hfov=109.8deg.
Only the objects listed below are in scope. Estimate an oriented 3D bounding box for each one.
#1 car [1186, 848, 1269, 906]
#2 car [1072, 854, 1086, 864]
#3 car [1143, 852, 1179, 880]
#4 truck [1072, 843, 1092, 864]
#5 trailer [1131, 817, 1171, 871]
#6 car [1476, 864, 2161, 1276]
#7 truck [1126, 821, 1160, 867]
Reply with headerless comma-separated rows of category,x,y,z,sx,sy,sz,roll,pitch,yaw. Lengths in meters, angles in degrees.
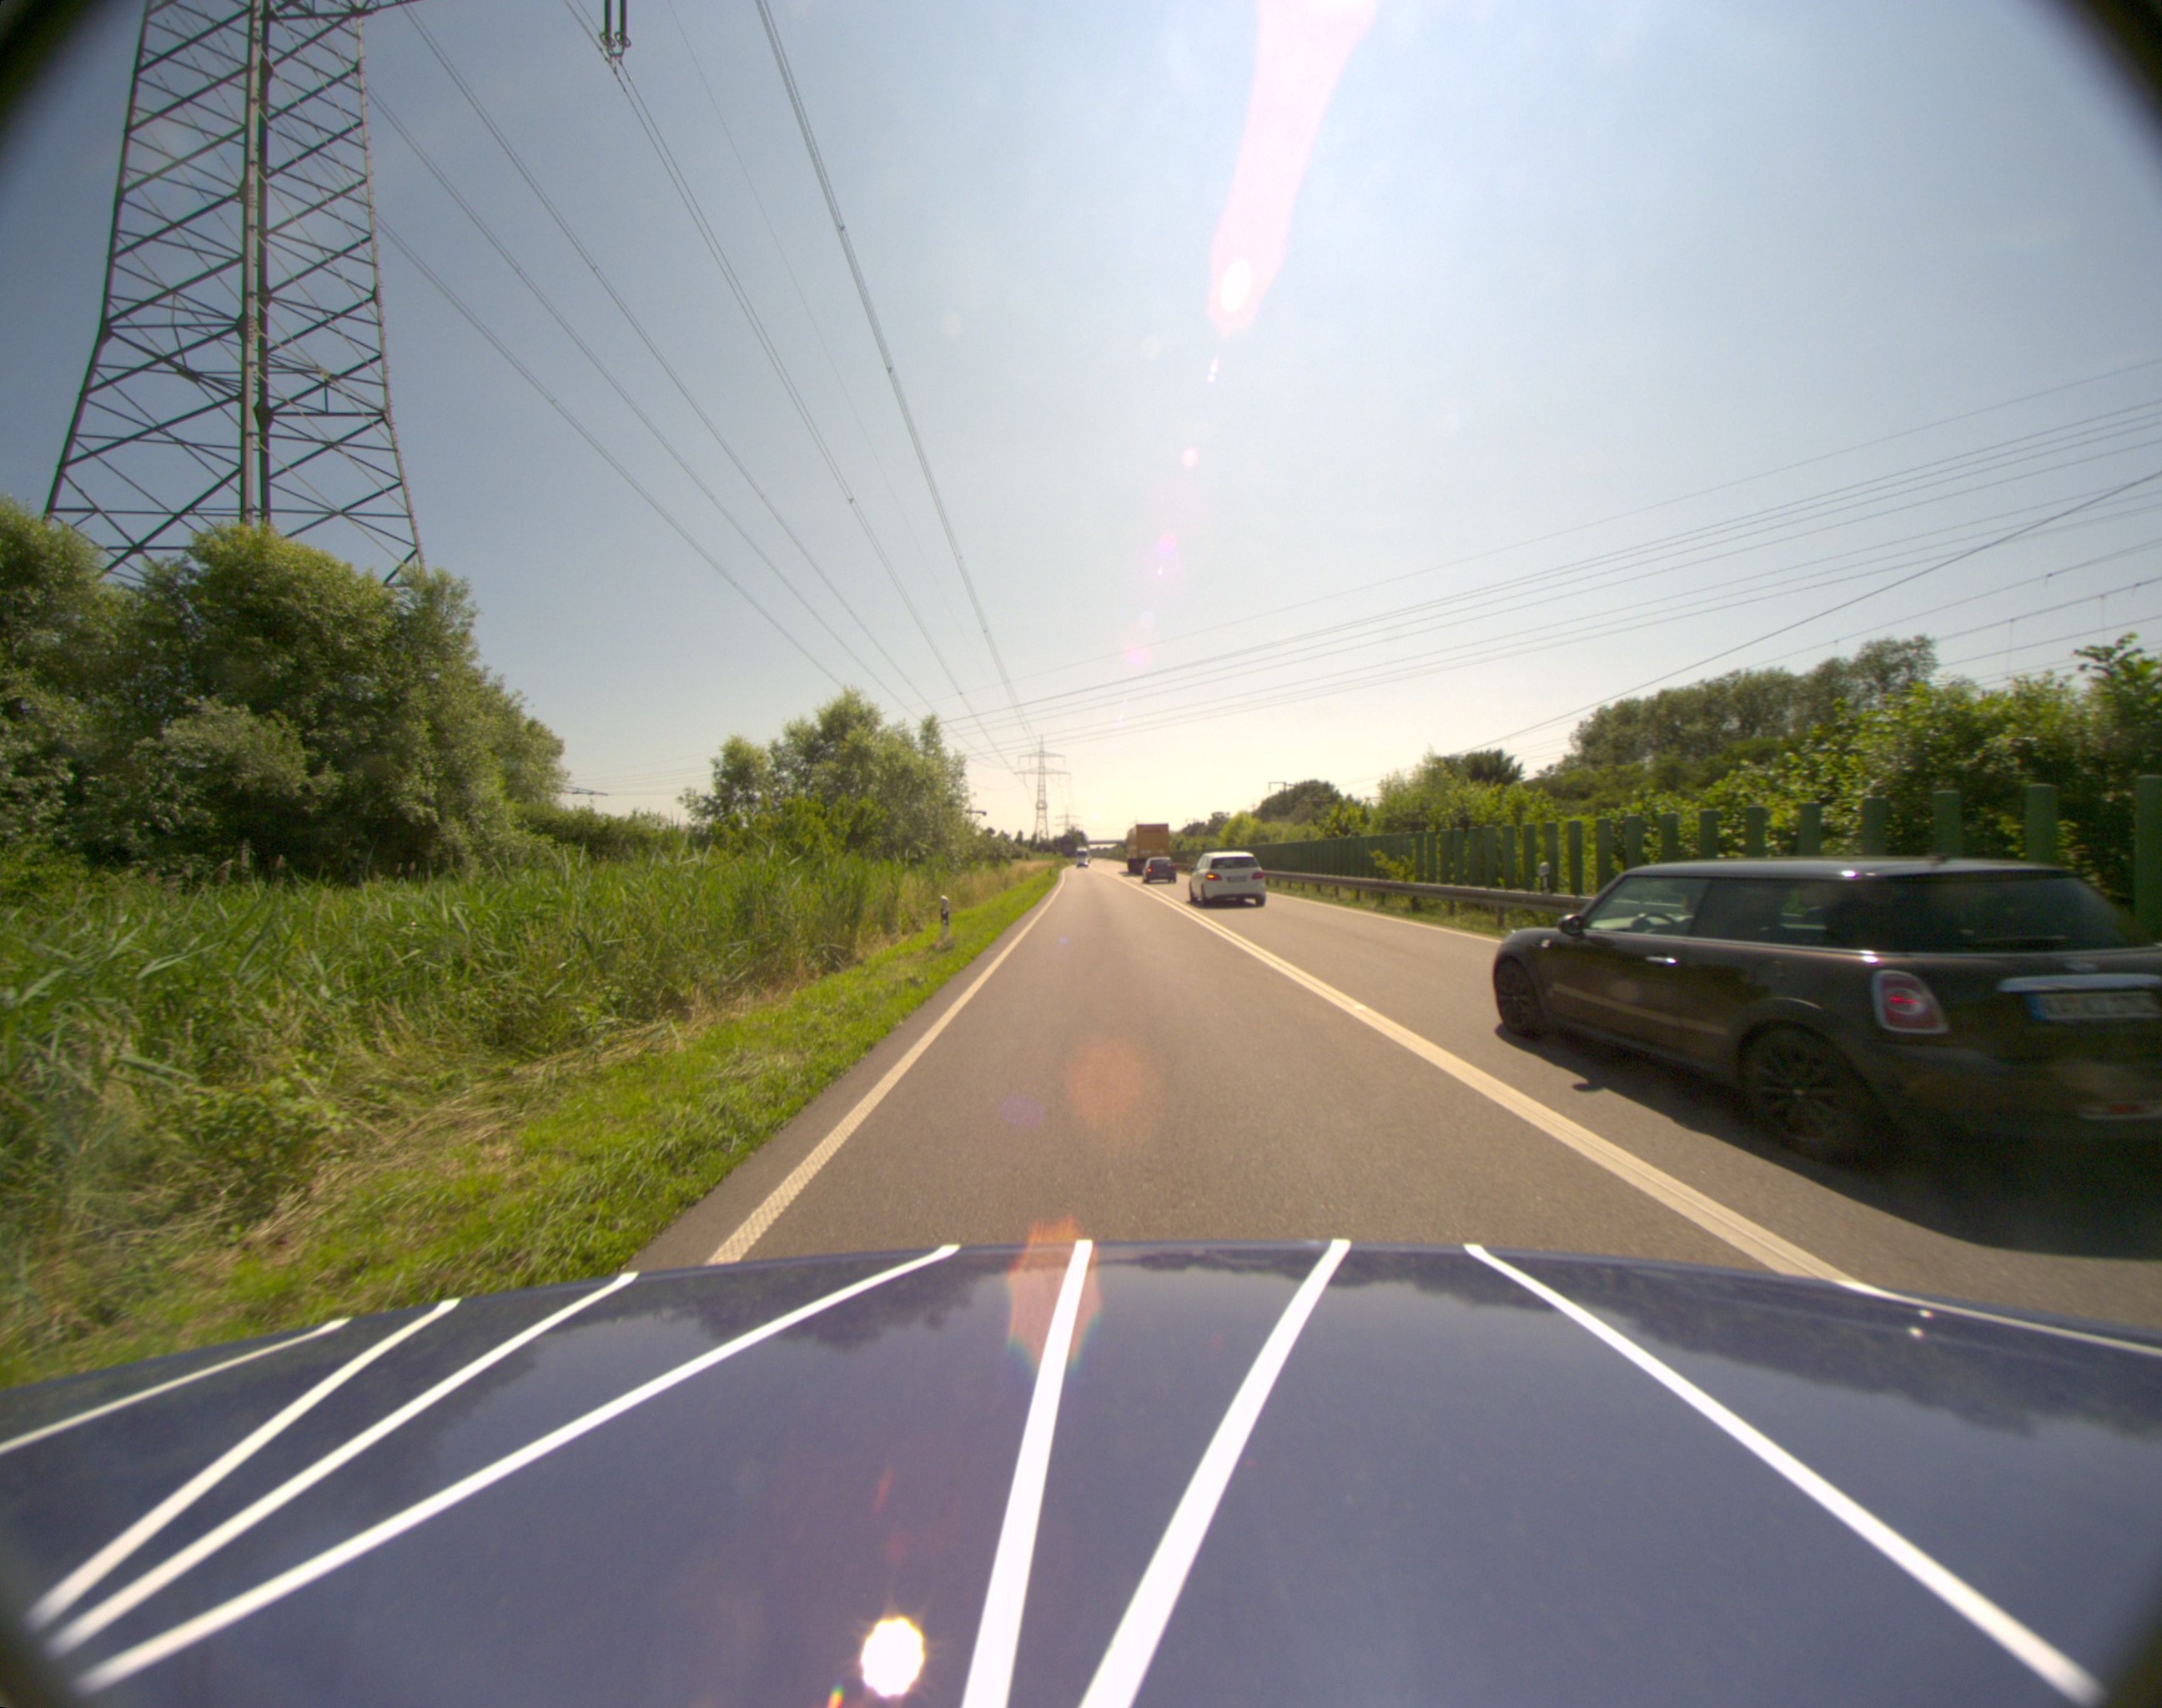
car,4.403,0.638,23.428,1.829,1.596,4.323,-2,0,2
car,-0.285,0.733,111.533,1.998,1.346,4.157,-3,1,0
car,4.473,0.639,43.064,1.618,1.433,3.794,-2,0,0
truck,0.318,-0.221,183.123,4.219,4.608,21.303,-2,0,0
trailer,5.770,-0.794,63.923,2.554,4.120,9.228,-2,0,1
car,4.136,0.829,4.674,1.510,1.426,3.742,-2,0,1
truck,5.927,-0.914,73.851,2.554,4.104,10.604,-2,0,1
